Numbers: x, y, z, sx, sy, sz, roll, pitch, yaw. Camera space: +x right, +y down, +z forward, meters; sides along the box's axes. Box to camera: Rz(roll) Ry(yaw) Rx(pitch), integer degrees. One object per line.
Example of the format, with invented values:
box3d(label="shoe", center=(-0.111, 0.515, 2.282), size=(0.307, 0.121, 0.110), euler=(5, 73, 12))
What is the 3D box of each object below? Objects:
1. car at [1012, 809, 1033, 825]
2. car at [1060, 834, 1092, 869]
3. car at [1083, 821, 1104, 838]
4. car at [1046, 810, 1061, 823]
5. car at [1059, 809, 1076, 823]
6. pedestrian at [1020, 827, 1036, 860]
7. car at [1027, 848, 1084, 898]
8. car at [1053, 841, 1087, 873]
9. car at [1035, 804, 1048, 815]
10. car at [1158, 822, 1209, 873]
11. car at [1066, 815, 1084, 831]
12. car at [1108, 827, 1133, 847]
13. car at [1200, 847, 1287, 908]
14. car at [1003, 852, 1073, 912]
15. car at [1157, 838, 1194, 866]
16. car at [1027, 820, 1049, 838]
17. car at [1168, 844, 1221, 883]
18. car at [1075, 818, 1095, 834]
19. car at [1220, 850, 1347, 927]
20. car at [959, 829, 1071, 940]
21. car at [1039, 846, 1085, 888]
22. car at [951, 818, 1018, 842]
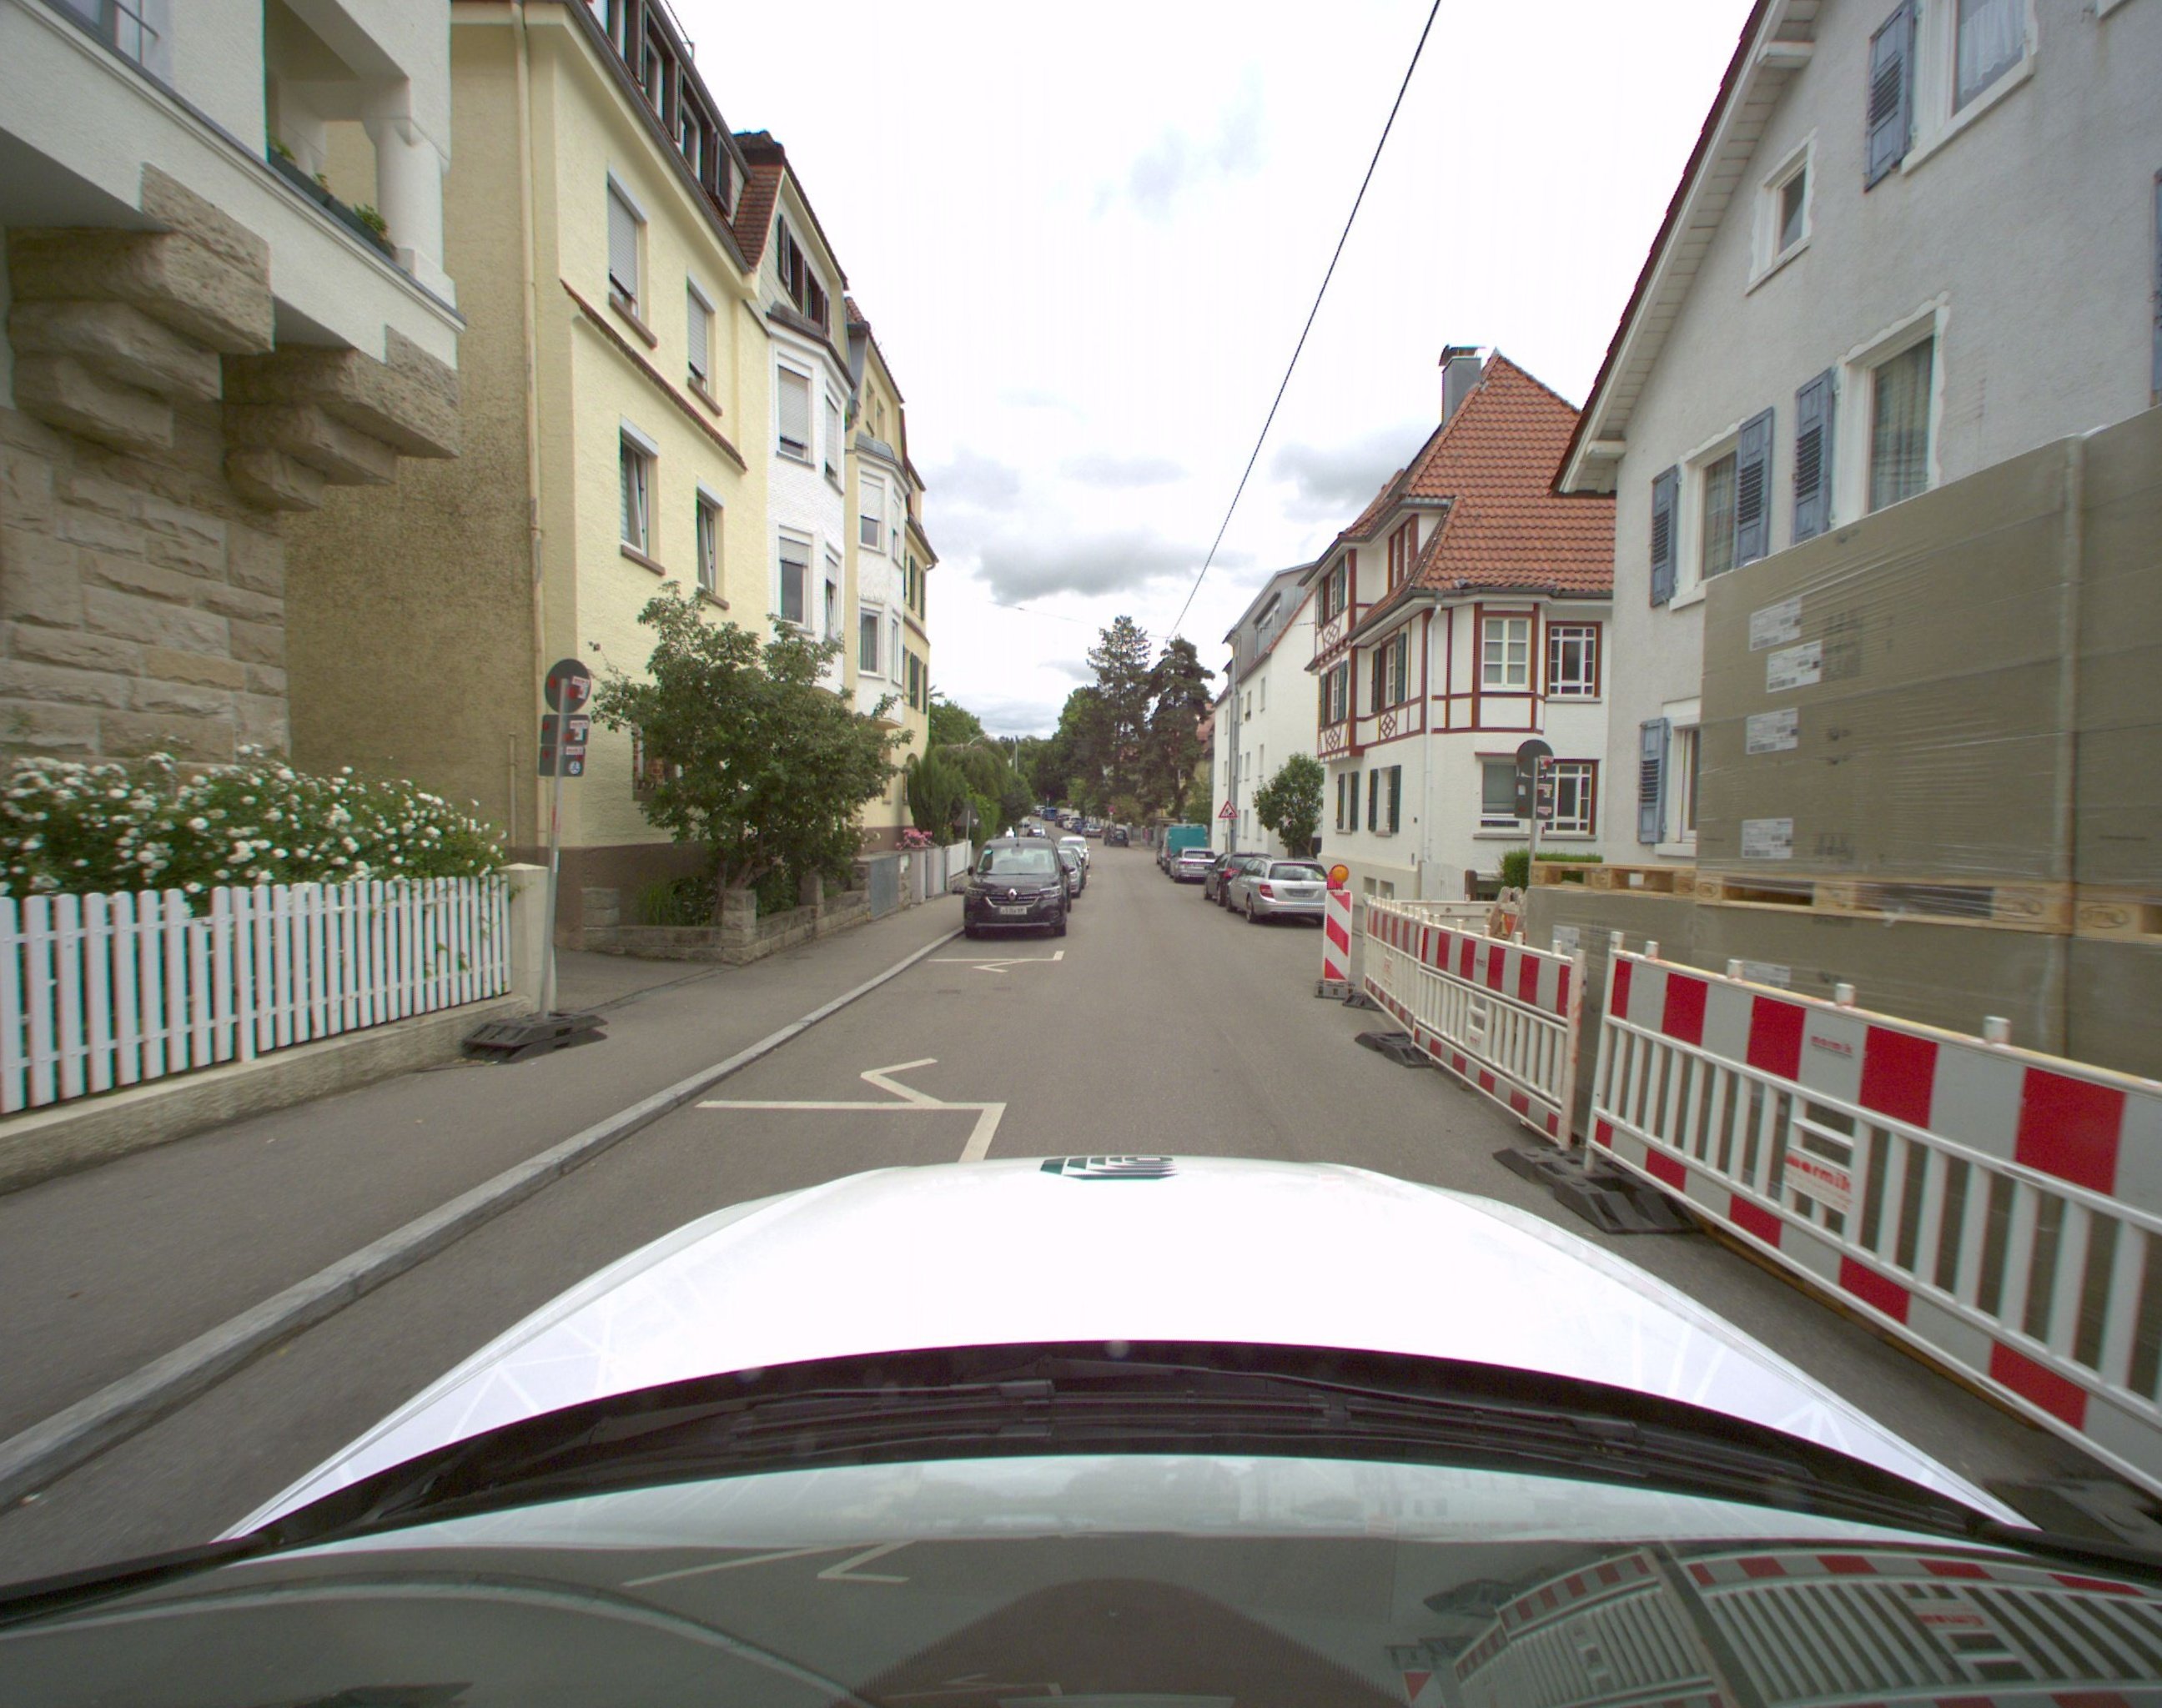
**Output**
box3d(label="car", center=(-7.138, -4.475, 98.850), size=(1.905, 1.876, 4.577), euler=(-1, 4, -13))
box3d(label="car", center=(-0.259, -0.165, 44.501), size=(1.667, 1.656, 3.865), euler=(0, 4, 1))
box3d(label="car", center=(1.242, -2.507, 82.777), size=(1.633, 1.483, 3.523), euler=(2, 4, -8))
box3d(label="car", center=(-3.838, -5.280, 113.814), size=(1.633, 1.536, 3.523), euler=(2, 4, -8))
box3d(label="car", center=(-1.622, -4.644, 99.239), size=(1.633, 1.536, 3.523), euler=(2, 4, -8))
box3d(label="pedestrian", center=(-3.151, -0.637, 48.255), size=(0.788, 1.932, 0.920), euler=(2, 1, 4))
box3d(label="car", center=(-0.724, 0.544, 25.800), size=(1.637, 1.416, 3.984), euler=(0, 1, 1))
box3d(label="car", center=(-0.512, 0.097, 40.438), size=(1.591, 1.412, 3.663), euler=(0, 2, 1))
box3d(label="car", center=(-6.028, -6.778, 123.931), size=(1.633, 1.536, 3.523), euler=(2, 4, -8))
box3d(label="car", center=(5.043, -0.381, 40.642), size=(1.973, 2.362, 4.278), euler=(1, 2, 0))
box3d(label="car", center=(-0.693, -3.555, 93.418), size=(1.633, 1.536, 3.523), euler=(2, 4, -8))
box3d(label="car", center=(3.403, -1.538, 71.050), size=(1.632, 1.483, 3.524), euler=(2, 4, -6))
box3d(label="car", center=(4.538, 0.587, 23.254), size=(1.684, 1.519, 3.881), euler=(2, 1, 0))
box3d(label="car", center=(-1.028, 0.655, 21.156), size=(1.637, 1.387, 3.859), euler=(0, 1, 0))
box3d(label="car", center=(5.401, -0.160, 46.858), size=(1.719, 1.448, 3.881), euler=(1, 2, 0))
box3d(label="car", center=(-4.283, -2.450, 80.259), size=(1.673, 1.656, 3.849), euler=(-1, 4, -11))
box3d(label="car", center=(4.697, 0.359, 34.261), size=(1.719, 1.448, 3.881), euler=(1, 2, 0))
box3d(label="car", center=(0.367, -2.983, 87.344), size=(1.633, 1.483, 3.523), euler=(2, 4, -8))
box3d(label="car", center=(4.476, 0.684, 18.674), size=(1.812, 1.441, 4.452), euler=(2, 1, 0))
box3d(label="car", center=(-1.142, 0.492, 15.667), size=(1.840, 1.815, 4.542), euler=(0, 0, -1))
box3d(label="car", center=(-0.652, 0.440, 30.680), size=(1.591, 1.478, 3.991), euler=(0, 1, 1))
box3d(label="car", center=(-7.170, -1.764, 61.034), size=(1.975, 1.639, 4.841), euler=(3, 2, 43))
